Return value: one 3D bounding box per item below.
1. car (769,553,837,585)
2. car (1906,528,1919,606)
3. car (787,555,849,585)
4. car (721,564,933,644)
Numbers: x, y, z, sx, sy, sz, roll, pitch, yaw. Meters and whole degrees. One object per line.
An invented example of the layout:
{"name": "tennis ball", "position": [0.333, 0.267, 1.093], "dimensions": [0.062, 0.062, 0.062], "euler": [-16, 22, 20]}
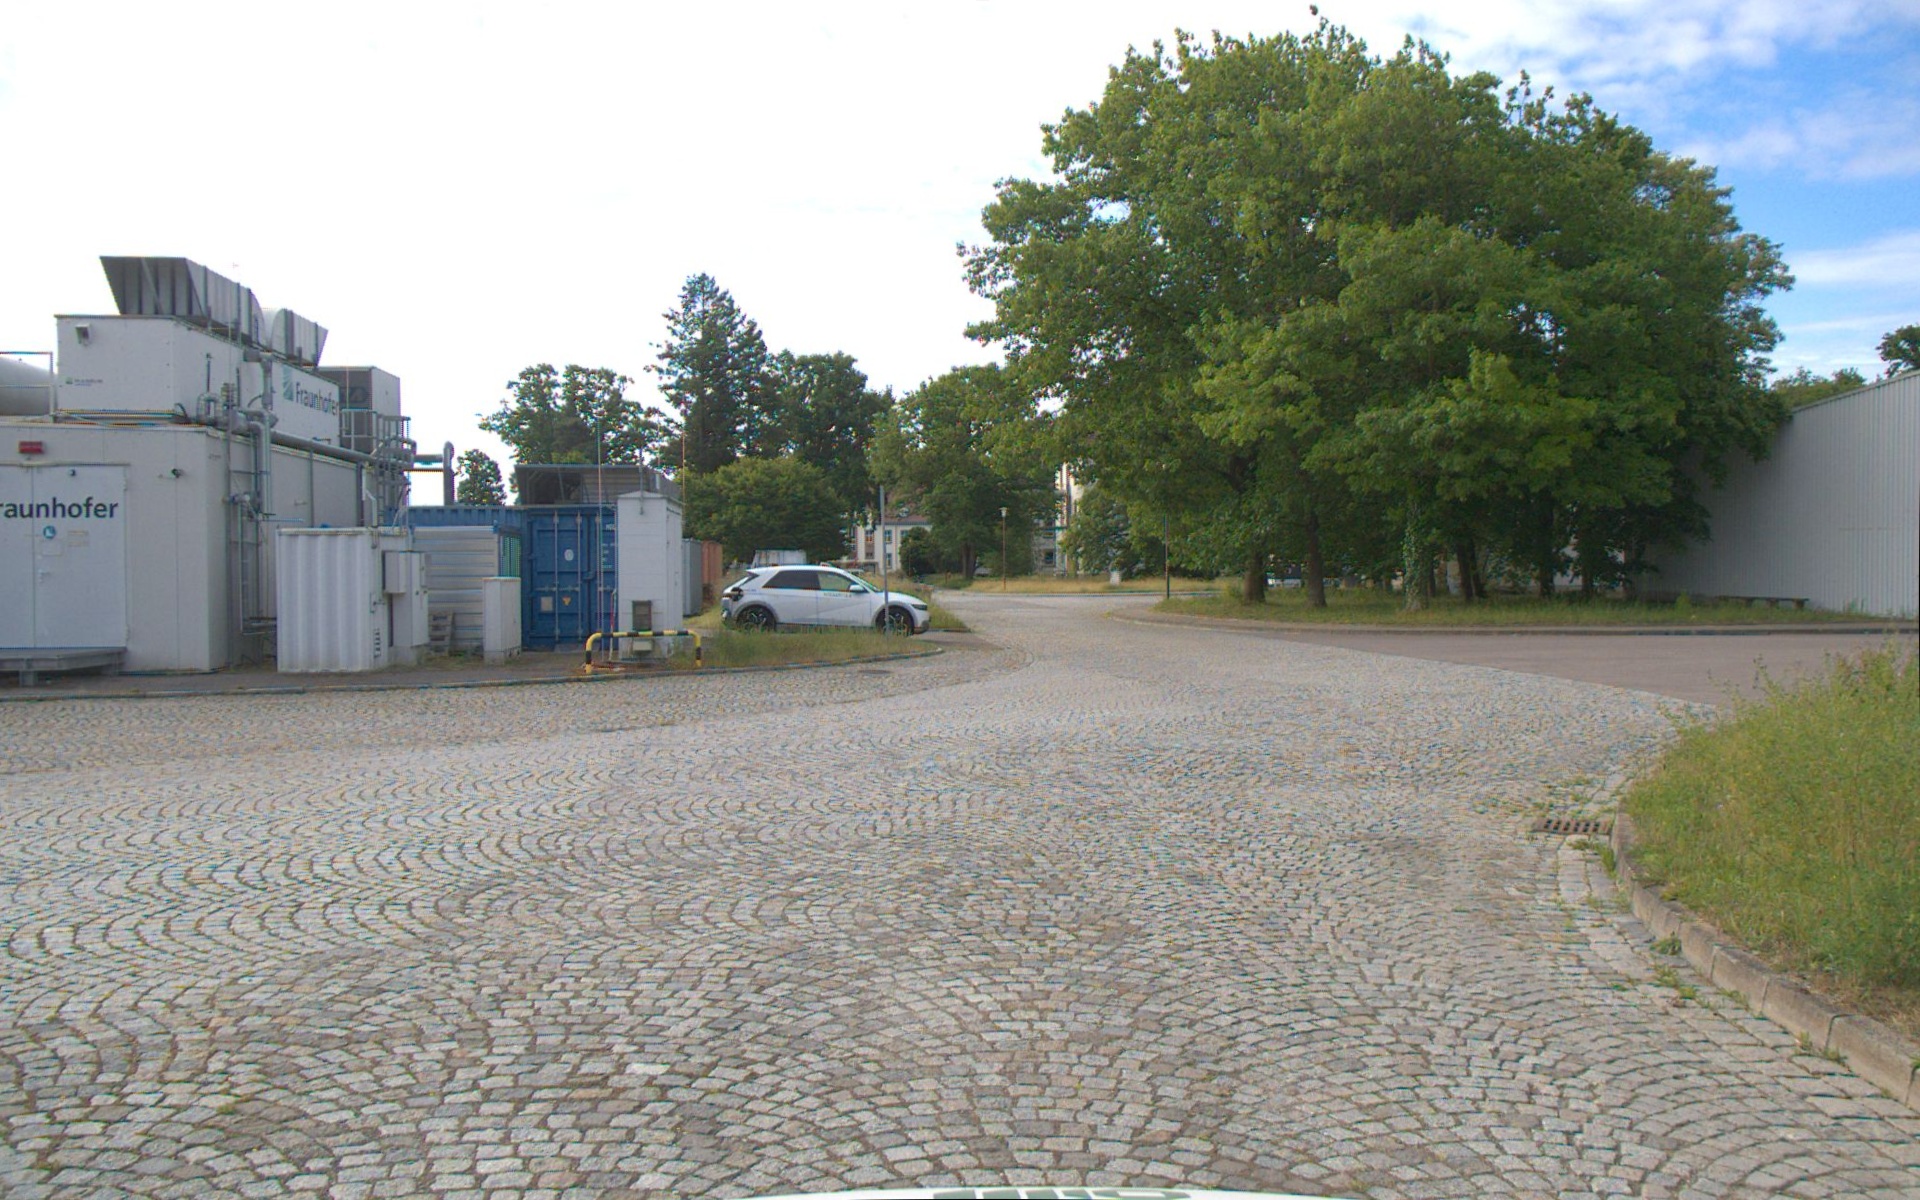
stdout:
{"name": "car", "position": [-12.085, -2.364, 127.406], "dimensions": [5.070, 2.378, 1.998], "euler": [-1, 1, -6]}
{"name": "car", "position": [26.631, -0.853, 41.616], "dimensions": [2.198, 2.049, 5.330], "euler": [-1, 1, -6]}
{"name": "car", "position": [-11.779, -2.458, 137.032], "dimensions": [5.070, 2.378, 1.998], "euler": [-1, 1, -6]}
{"name": "car", "position": [-2.854, 0.062, 35.956], "dimensions": [4.443, 1.627, 1.999], "euler": [-1, 1, -3]}
